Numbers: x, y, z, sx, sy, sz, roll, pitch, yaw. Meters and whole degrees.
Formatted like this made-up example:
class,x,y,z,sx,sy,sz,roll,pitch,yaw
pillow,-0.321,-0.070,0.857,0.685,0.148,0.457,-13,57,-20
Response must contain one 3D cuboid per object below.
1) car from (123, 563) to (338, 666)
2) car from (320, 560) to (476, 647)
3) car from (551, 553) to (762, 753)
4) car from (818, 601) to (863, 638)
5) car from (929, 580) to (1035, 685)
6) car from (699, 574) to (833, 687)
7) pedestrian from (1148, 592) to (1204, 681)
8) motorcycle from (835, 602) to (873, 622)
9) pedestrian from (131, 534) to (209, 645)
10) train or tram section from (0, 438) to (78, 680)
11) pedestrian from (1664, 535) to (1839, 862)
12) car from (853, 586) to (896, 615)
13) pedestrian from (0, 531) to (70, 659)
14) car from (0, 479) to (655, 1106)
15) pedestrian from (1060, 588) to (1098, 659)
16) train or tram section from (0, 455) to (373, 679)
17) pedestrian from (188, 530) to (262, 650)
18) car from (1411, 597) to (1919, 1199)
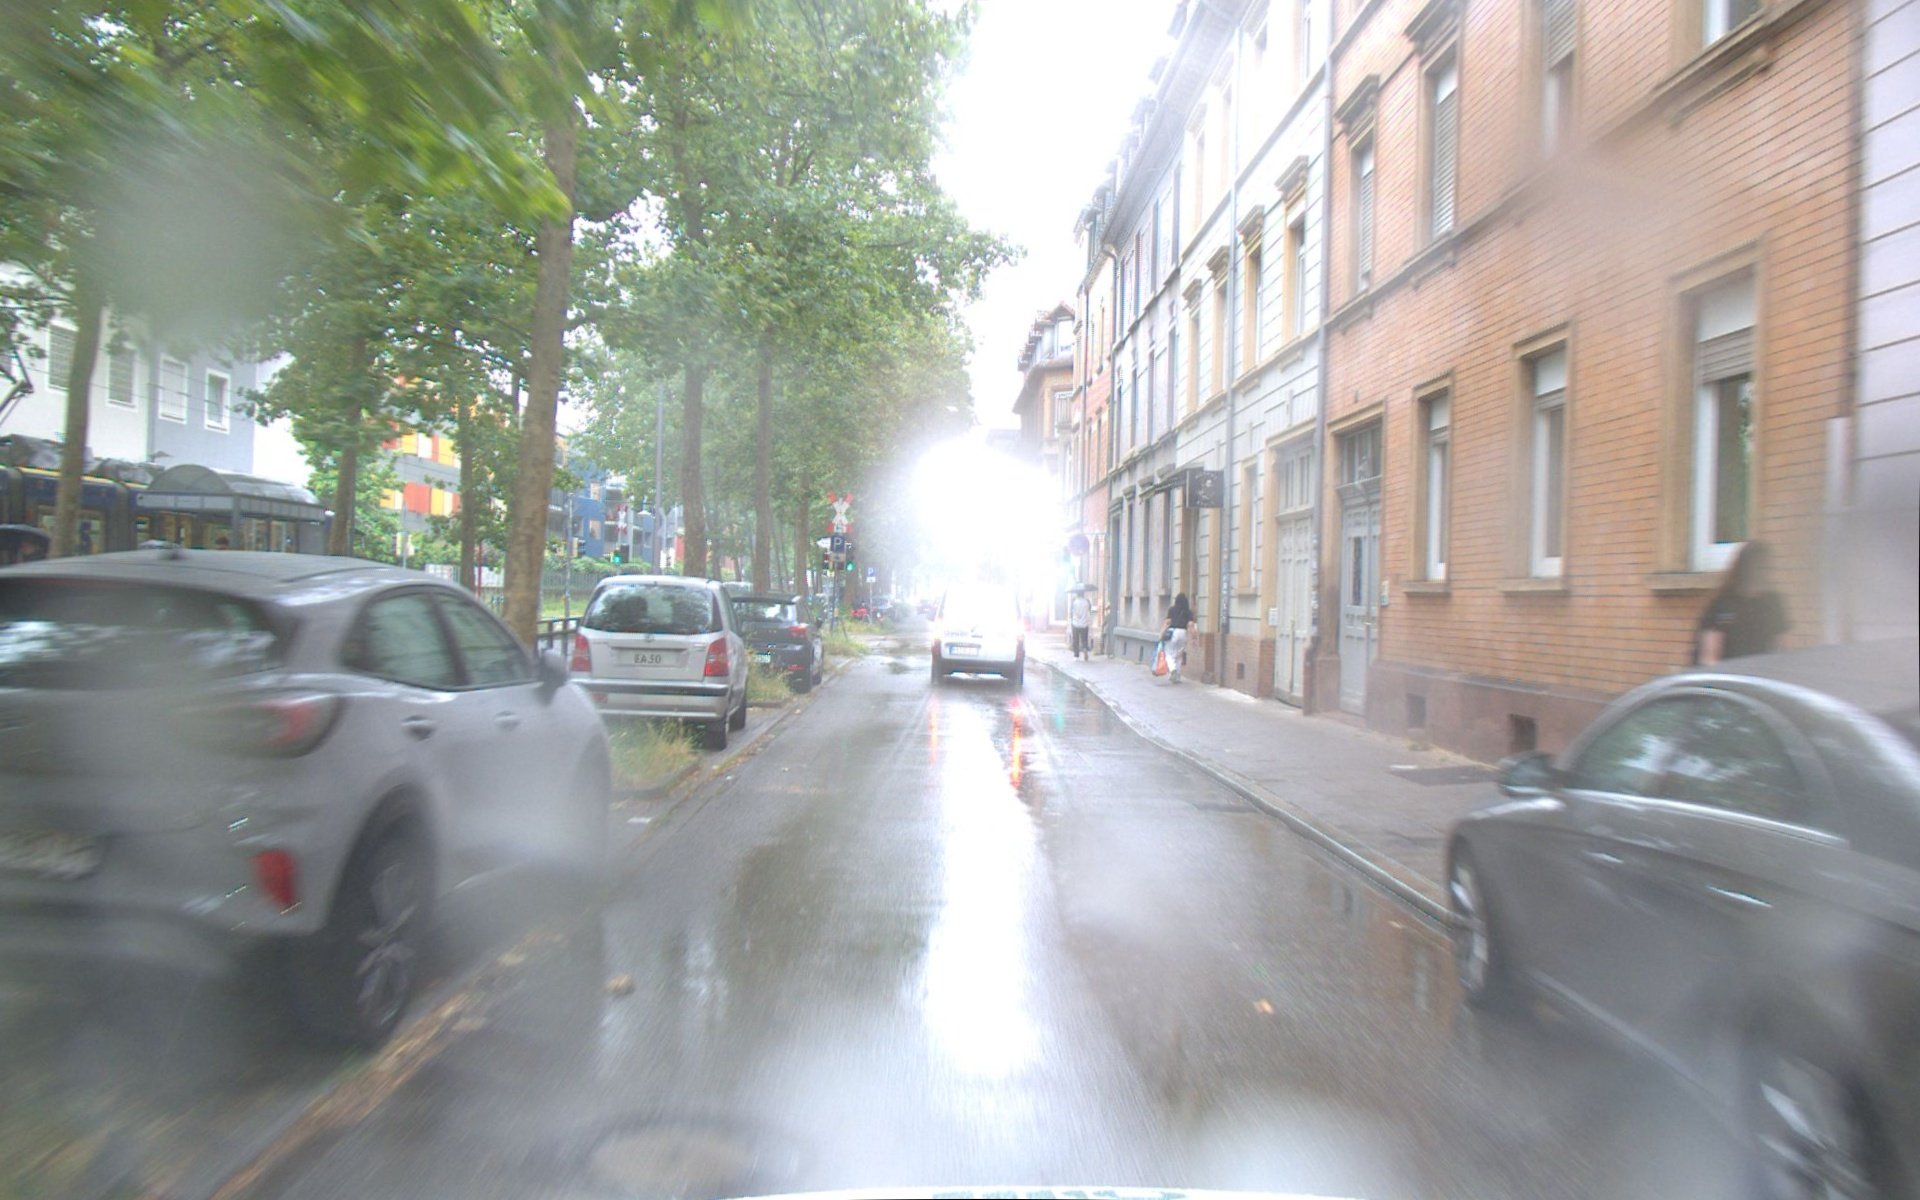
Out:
class,x,y,z,sx,sy,sz,roll,pitch,yaw
car,-11.312,0.198,25.919,1.704,1.366,3.754,4,0,-2
car,-11.597,0.067,34.422,1.953,1.641,3.998,2,0,-2
car,-2.914,0.451,16.539,1.592,1.711,3.657,3,1,-4
car,-5.803,0.937,80.669,1.957,1.641,3.998,2,0,-2
car,0.385,0.629,31.931,1.865,1.829,4.112,2,-1,-1
car,-2.941,0.454,25.826,1.615,1.526,4.118,3,0,-1
pedestrian,3.874,0.643,29.716,0.823,1.538,1.107,-1,0,-1
motorcycle,-4.972,0.562,77.772,1.670,0.880,0.577,2,0,4
pedestrian,-12.785,-0.166,26.779,0.801,1.733,0.872,2,0,-2
train or tram section,-15.732,-0.762,19.613,3.043,3.621,14.570,1,-1,-2
pedestrian,4.320,0.519,9.056,0.626,1.714,0.603,-1,0,-2
car,-4.448,0.008,86.464,1.953,1.411,4.000,2,0,0
pedestrian,-13.075,-0.074,23.065,0.801,1.733,0.872,2,0,-2
car,-2.492,0.514,6.623,1.664,1.664,4.355,1,0,0
pedestrian,2.998,0.576,41.674,0.823,1.746,1.107,-2,0,-1
train or tram section,-16.105,-0.386,34.210,3.043,3.621,14.668,1,-1,-2
pedestrian,-12.944,-0.174,29.154,0.851,2.049,0.821,2,0,2
car,2.792,0.735,4.780,1.776,1.445,4.697,-2,0,2
